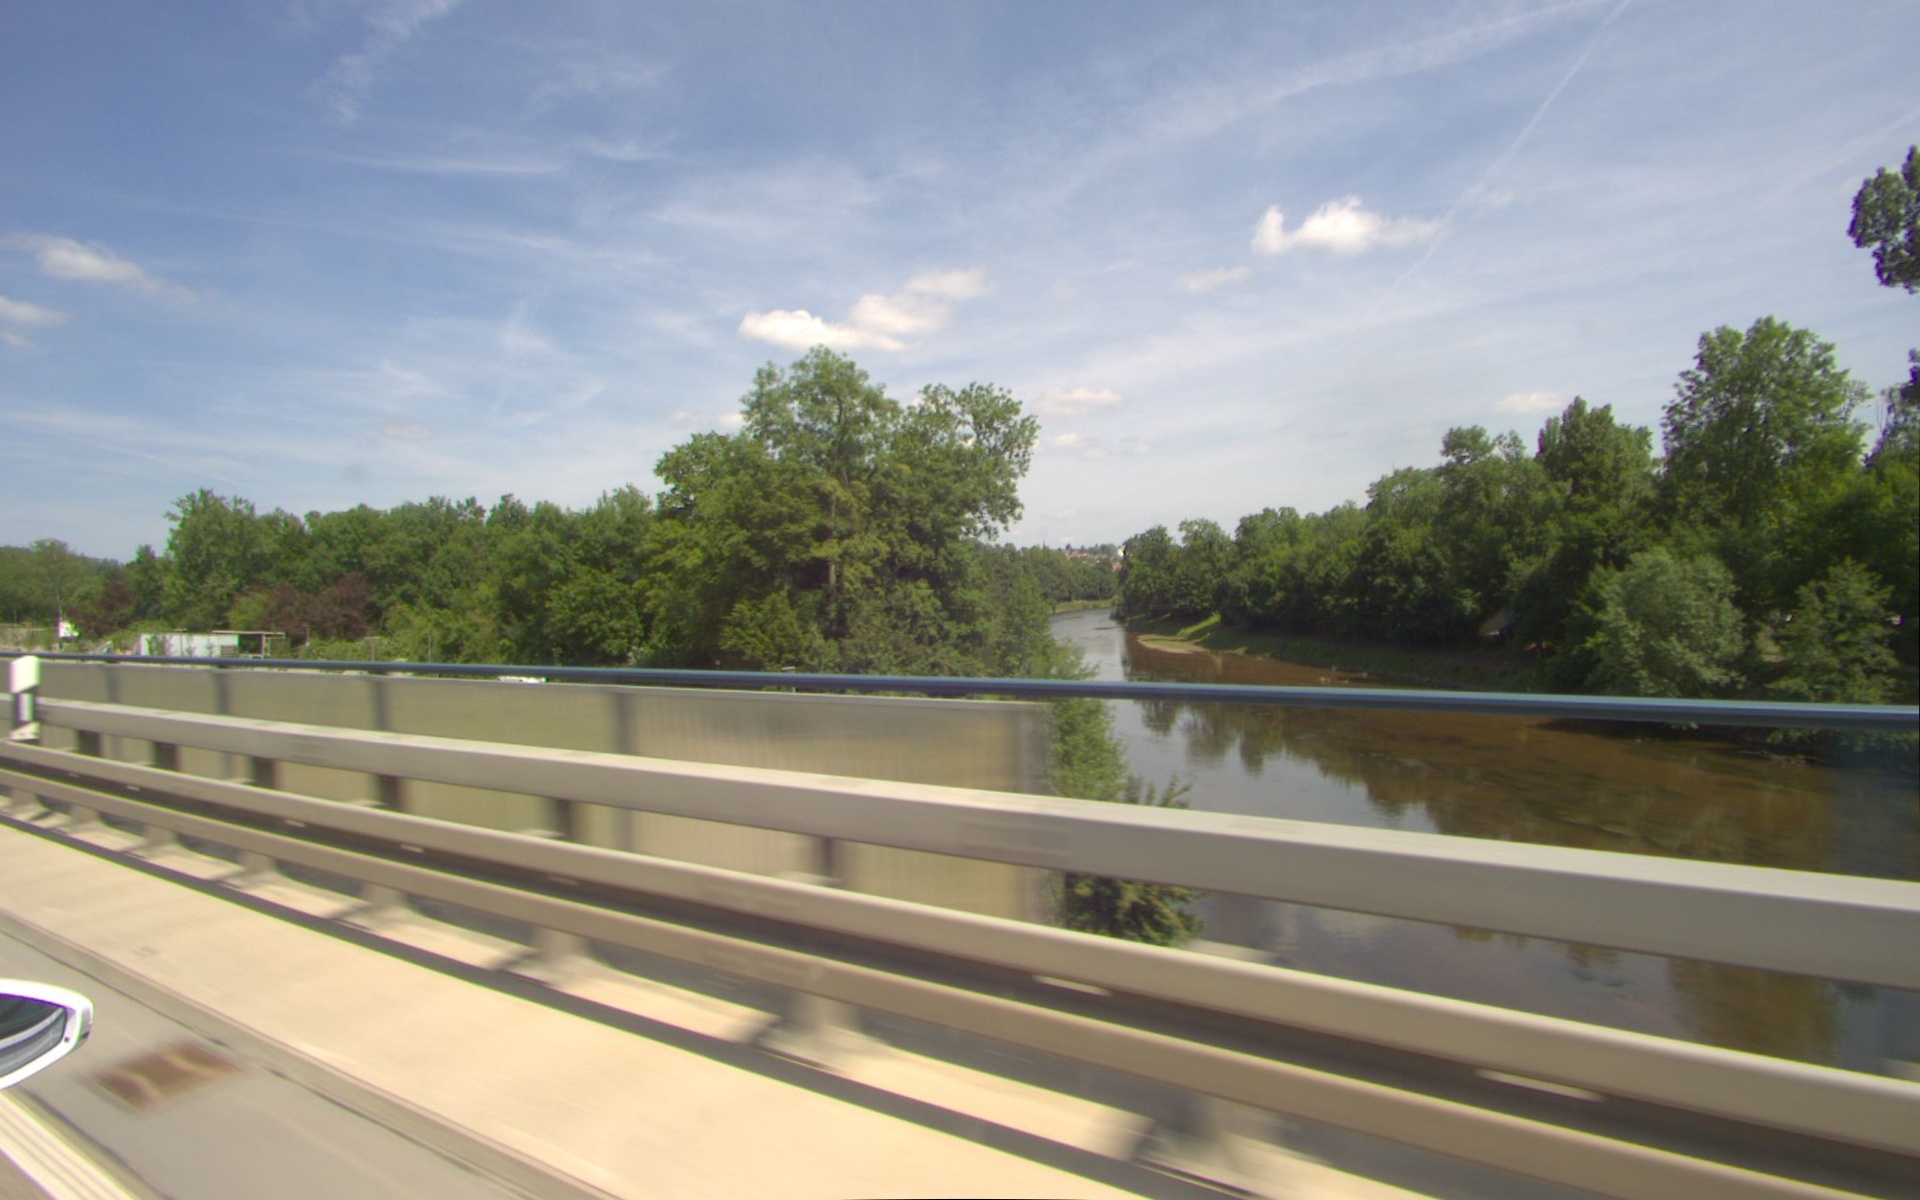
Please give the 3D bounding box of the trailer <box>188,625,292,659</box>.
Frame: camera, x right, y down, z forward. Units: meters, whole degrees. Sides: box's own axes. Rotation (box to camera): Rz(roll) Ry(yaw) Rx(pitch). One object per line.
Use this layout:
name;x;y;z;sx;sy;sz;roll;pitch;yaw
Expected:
trailer;-80.828;4.695;112.436;11.675;3.653;2.725;0;-1;15

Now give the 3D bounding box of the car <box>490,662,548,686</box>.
car;-34.132;5.696;77.422;4.542;1.503;1.852;0;3;33

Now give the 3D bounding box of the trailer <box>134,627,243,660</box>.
trailer;-85.077;4.726;110.372;11.672;3.371;2.725;0;0;13

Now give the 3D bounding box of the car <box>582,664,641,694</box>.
car;-24.844;5.593;71.275;4.142;1.706;1.851;1;3;35
